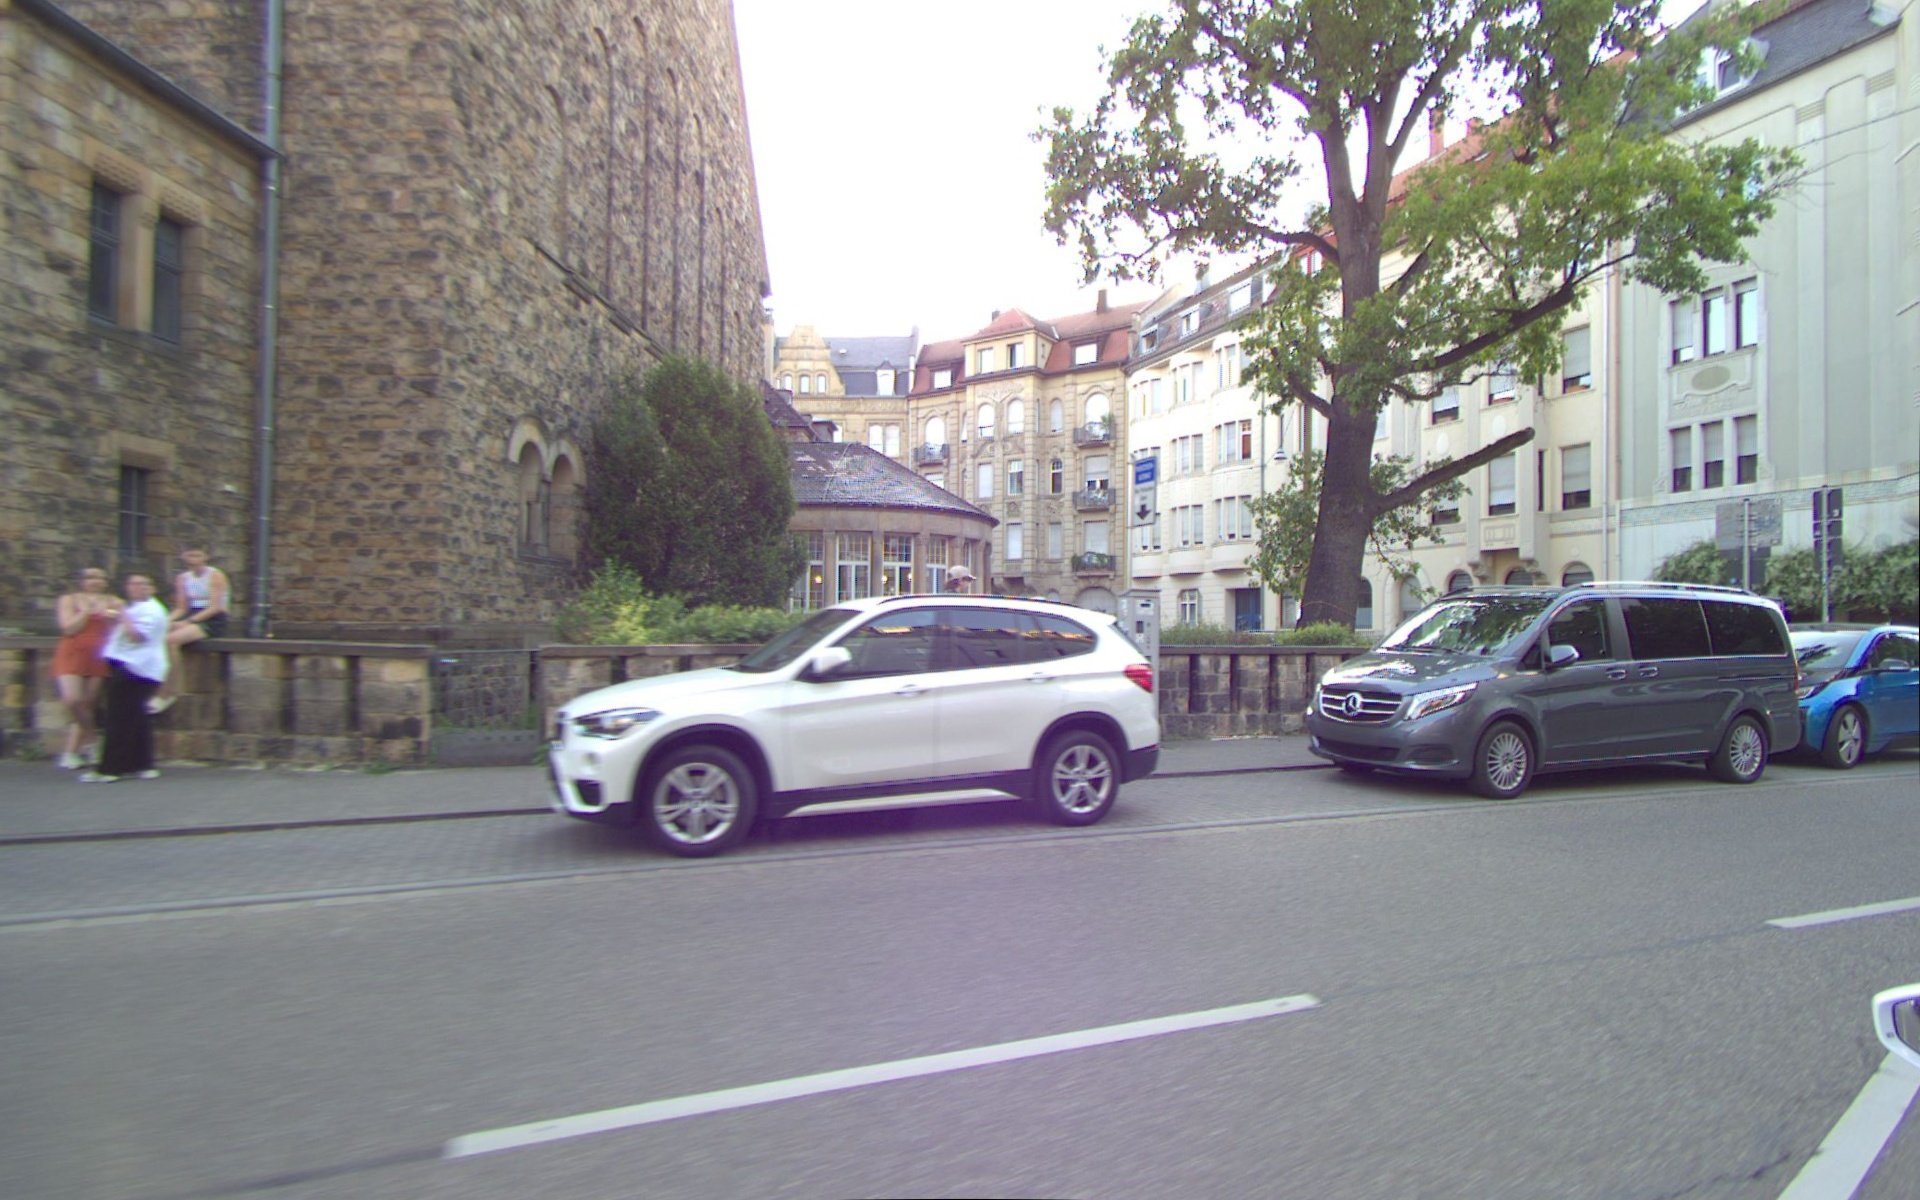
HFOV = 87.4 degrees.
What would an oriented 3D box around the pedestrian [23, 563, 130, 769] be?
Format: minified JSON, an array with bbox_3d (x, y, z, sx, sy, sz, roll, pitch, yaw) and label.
[{"bbox_3d":[-7.570,0.552,8.616,0.407,1.696,0.548,0,-1,28],"label":"pedestrian"}]

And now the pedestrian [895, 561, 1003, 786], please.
[{"bbox_3d":[-0.100,0.645,9.064,0.792,1.930,0.580,1,-2,-26],"label":"pedestrian"}]

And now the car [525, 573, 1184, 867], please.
[{"bbox_3d":[-0.740,0.735,7.289,4.407,1.613,1.866,1,-2,-24],"label":"car"}]

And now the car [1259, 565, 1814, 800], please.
[{"bbox_3d":[5.738,0.735,9.987,5.211,1.891,1.990,1,-1,-22],"label":"car"}]

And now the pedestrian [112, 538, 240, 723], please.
[{"bbox_3d":[-6.883,0.267,8.848,0.574,1.566,0.652,1,-1,1],"label":"pedestrian"}]

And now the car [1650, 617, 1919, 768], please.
[{"bbox_3d":[10.403,1.027,11.992,3.944,1.576,1.638,1,-1,-21],"label":"car"}]

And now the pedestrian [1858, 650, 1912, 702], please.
[{"bbox_3d":[22.277,1.819,24.185,0.767,1.230,0.689,1,-2,-22],"label":"pedestrian"}]

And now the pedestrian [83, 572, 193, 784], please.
[{"bbox_3d":[-6.651,0.609,8.140,0.407,1.643,0.548,0,-1,28],"label":"pedestrian"}]
